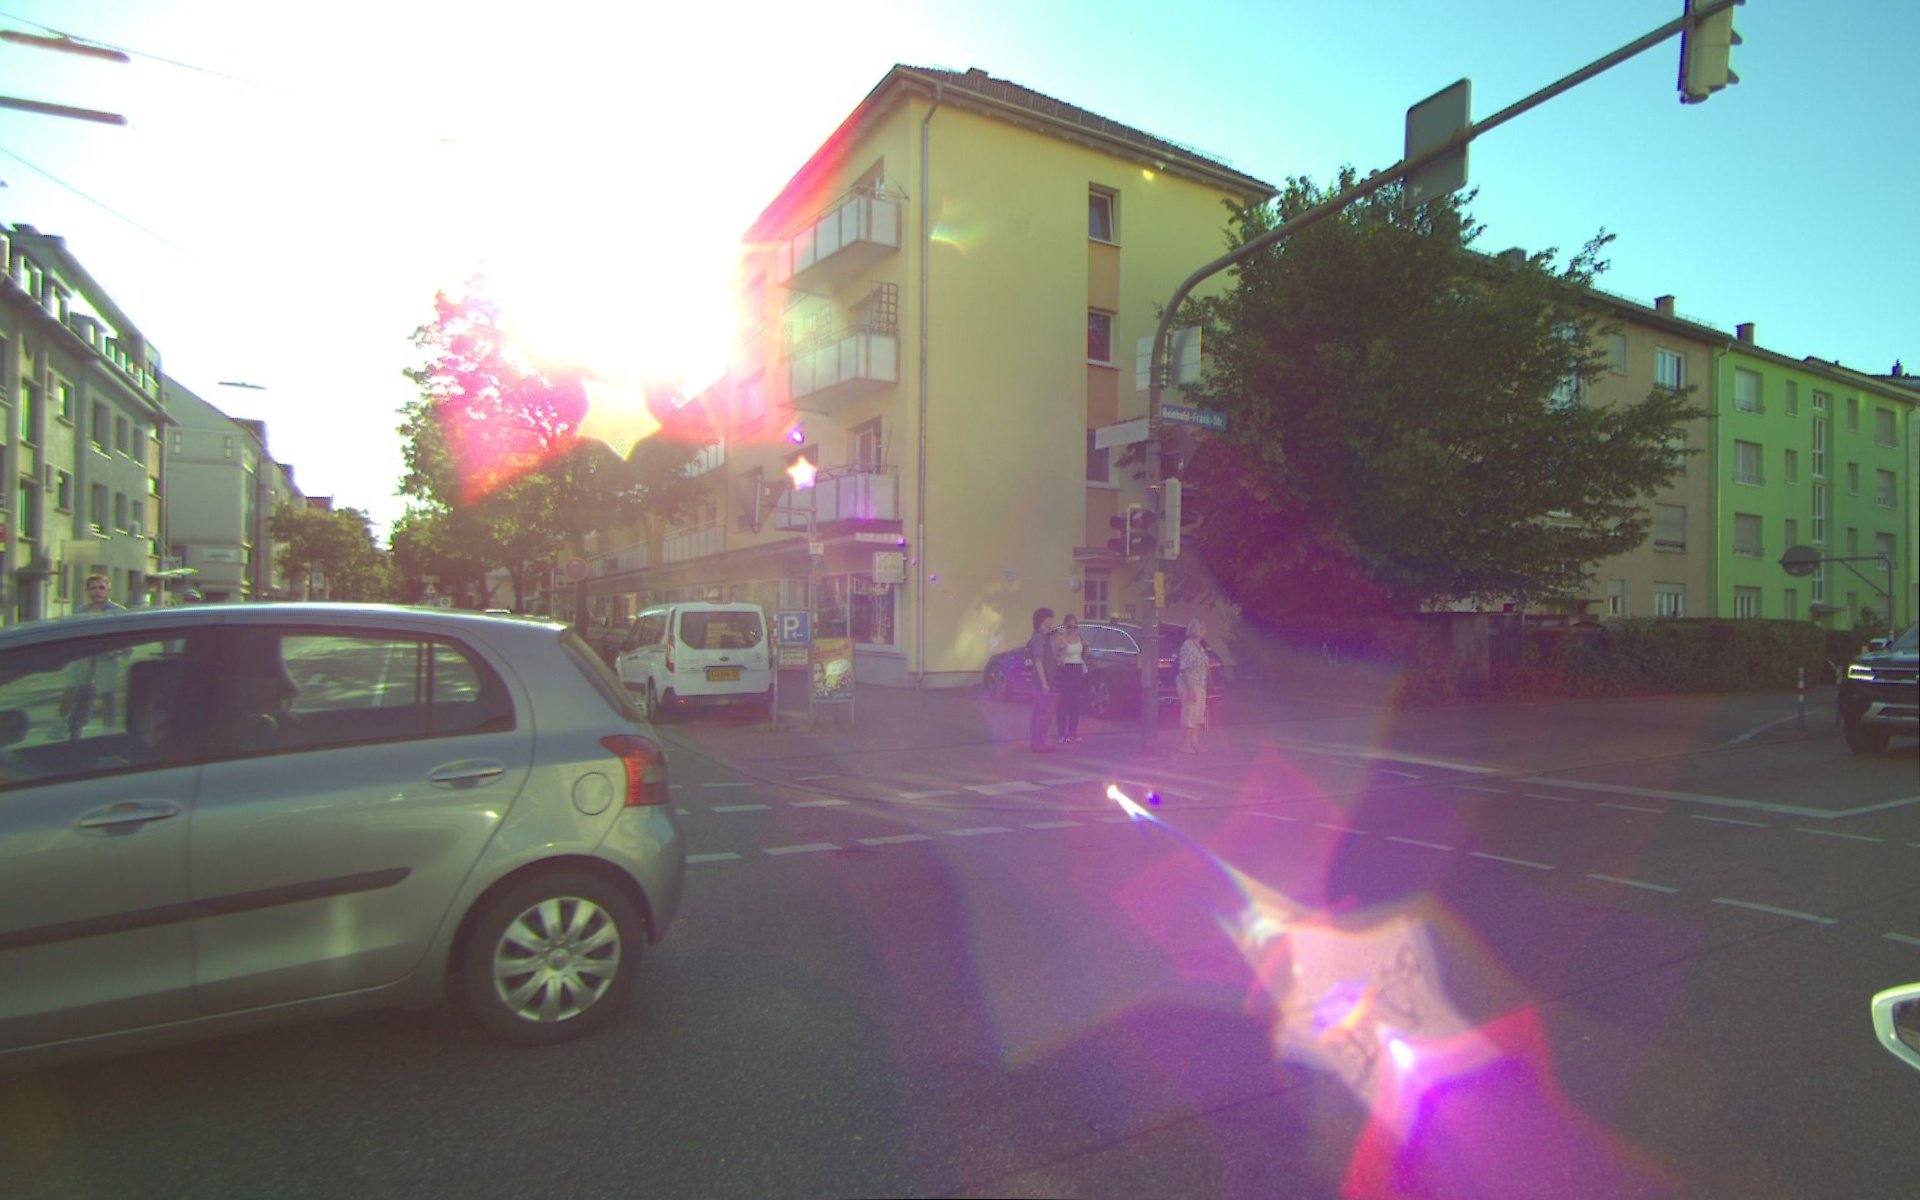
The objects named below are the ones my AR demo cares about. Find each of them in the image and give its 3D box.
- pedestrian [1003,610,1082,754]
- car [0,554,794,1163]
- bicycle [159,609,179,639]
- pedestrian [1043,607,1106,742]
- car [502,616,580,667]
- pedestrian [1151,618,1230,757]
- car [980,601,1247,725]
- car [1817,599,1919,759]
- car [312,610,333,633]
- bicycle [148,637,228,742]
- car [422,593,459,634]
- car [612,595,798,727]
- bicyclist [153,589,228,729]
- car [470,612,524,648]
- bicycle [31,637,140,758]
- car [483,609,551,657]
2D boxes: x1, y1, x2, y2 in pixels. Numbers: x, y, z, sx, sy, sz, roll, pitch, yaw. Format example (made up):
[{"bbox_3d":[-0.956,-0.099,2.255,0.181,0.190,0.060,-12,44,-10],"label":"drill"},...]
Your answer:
[{"bbox_3d":[1.002,0.968,12.229,0.603,1.679,0.741,1,-1,-39],"label":"pedestrian"},{"bbox_3d":[-2.764,0.704,3.497,3.952,1.578,1.796,1,-3,-30],"label":"car"},{"bbox_3d":[-34.197,1.043,43.431,0.591,1.316,0.427,1,-1,-32],"label":"bicycle"},{"bbox_3d":[1.484,0.945,13.003,0.735,1.651,0.609,2,2,7],"label":"pedestrian"},{"bbox_3d":[-13.206,1.259,31.531,1.841,1.483,3.970,1,-1,-29],"label":"car"},{"bbox_3d":[2.808,1.036,12.243,0.742,1.615,0.603,0,0,-33],"label":"pedestrian"},{"bbox_3d":[2.343,0.908,16.580,1.823,1.635,4.565,1,1,-32],"label":"car"},{"bbox_3d":[13.419,0.980,12.999,5.164,1.853,1.854,1,-3,-29],"label":"car"},{"bbox_3d":[-51.258,1.718,80.795,1.377,1.764,2.797,1,-1,-31],"label":"car"},{"bbox_3d":[-9.827,1.092,12.833,0.721,1.172,1.980,0,0,-35],"label":"bicycle"},{"bbox_3d":[-31.285,0.825,60.463,1.841,2.390,3.970,1,-1,-29],"label":"car"},{"bbox_3d":[-4.381,0.911,16.731,1.885,1.872,4.452,1,-1,-30],"label":"car"},{"bbox_3d":[-9.921,0.741,12.969,0.742,1.744,0.602,0,0,-36],"label":"bicyclist"},{"bbox_3d":[-20.309,1.275,43.991,1.841,1.483,3.970,1,-1,-29],"label":"car"},{"bbox_3d":[-9.873,1.046,11.405,0.721,1.182,1.980,0,0,-35],"label":"bicycle"},{"bbox_3d":[-16.041,1.155,36.245,1.821,1.635,4.375,1,-1,-29],"label":"car"}]
